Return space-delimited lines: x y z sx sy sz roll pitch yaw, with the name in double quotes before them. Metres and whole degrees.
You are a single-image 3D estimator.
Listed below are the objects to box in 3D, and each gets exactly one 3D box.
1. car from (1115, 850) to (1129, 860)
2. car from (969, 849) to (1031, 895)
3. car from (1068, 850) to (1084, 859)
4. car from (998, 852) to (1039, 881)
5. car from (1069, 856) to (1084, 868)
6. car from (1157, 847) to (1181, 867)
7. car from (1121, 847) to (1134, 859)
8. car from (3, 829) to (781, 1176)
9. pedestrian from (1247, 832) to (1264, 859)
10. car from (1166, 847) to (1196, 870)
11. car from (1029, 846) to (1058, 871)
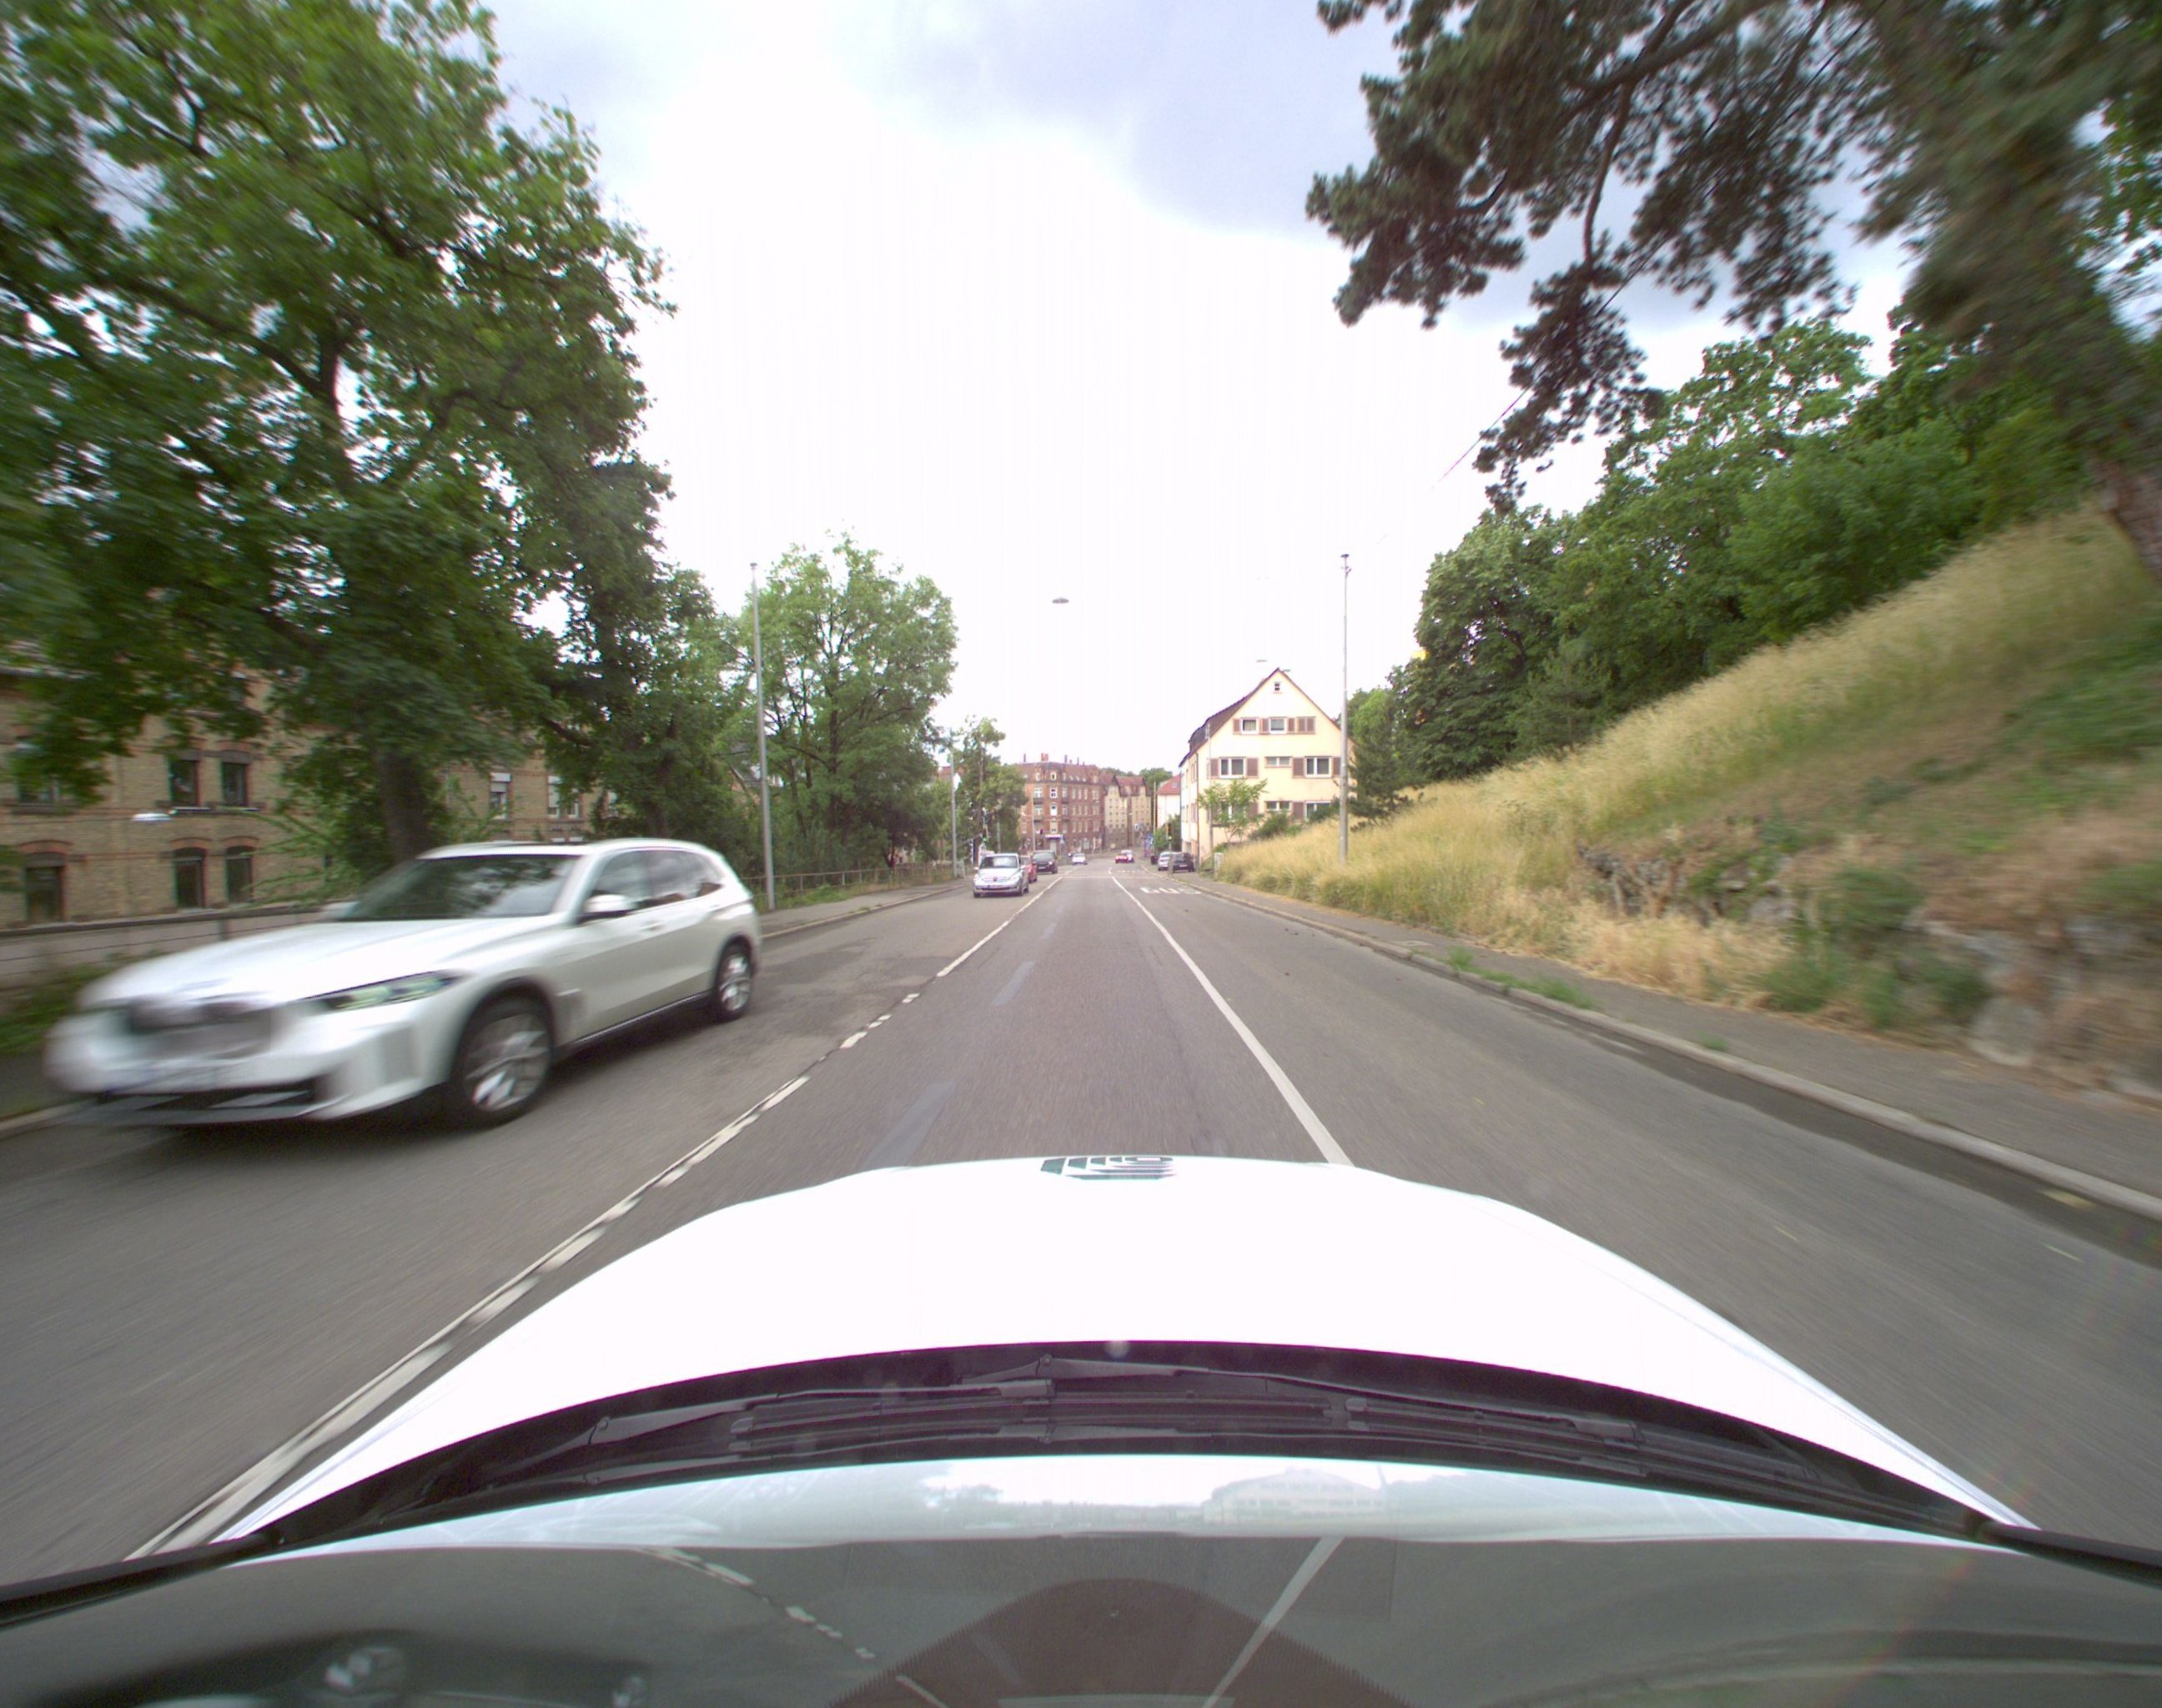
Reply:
"car" 6.084 0.128 119.841 1.807 1.430 4.007 1 0 6
"car" -3.011 0.631 31.079 1.777 1.574 4.281 -2 0 1
"car" -0.909 0.031 153.824 1.967 1.574 4.393 -3 0 15
"car" -3.330 0.632 44.206 1.777 1.459 4.429 -2 0 1
"car" -0.563 0.986 105.599 1.714 1.444 4.160 -2 0 1
"car" 7.316 0.199 68.250 1.786 1.451 4.725 -4 1 5
"car" 7.229 -0.192 126.736 1.900 1.884 4.007 1 0 6
"car" -4.309 0.728 6.400 1.988 1.683 4.665 -2 0 2
"pedestrian" 11.210 -0.545 52.257 0.884 1.696 0.872 1 -1 -2
"car" 7.278 0.328 59.418 1.675 1.451 4.001 -4 -1 2
"car" -2.766 0.297 60.748 1.777 1.746 4.430 -2 0 2
